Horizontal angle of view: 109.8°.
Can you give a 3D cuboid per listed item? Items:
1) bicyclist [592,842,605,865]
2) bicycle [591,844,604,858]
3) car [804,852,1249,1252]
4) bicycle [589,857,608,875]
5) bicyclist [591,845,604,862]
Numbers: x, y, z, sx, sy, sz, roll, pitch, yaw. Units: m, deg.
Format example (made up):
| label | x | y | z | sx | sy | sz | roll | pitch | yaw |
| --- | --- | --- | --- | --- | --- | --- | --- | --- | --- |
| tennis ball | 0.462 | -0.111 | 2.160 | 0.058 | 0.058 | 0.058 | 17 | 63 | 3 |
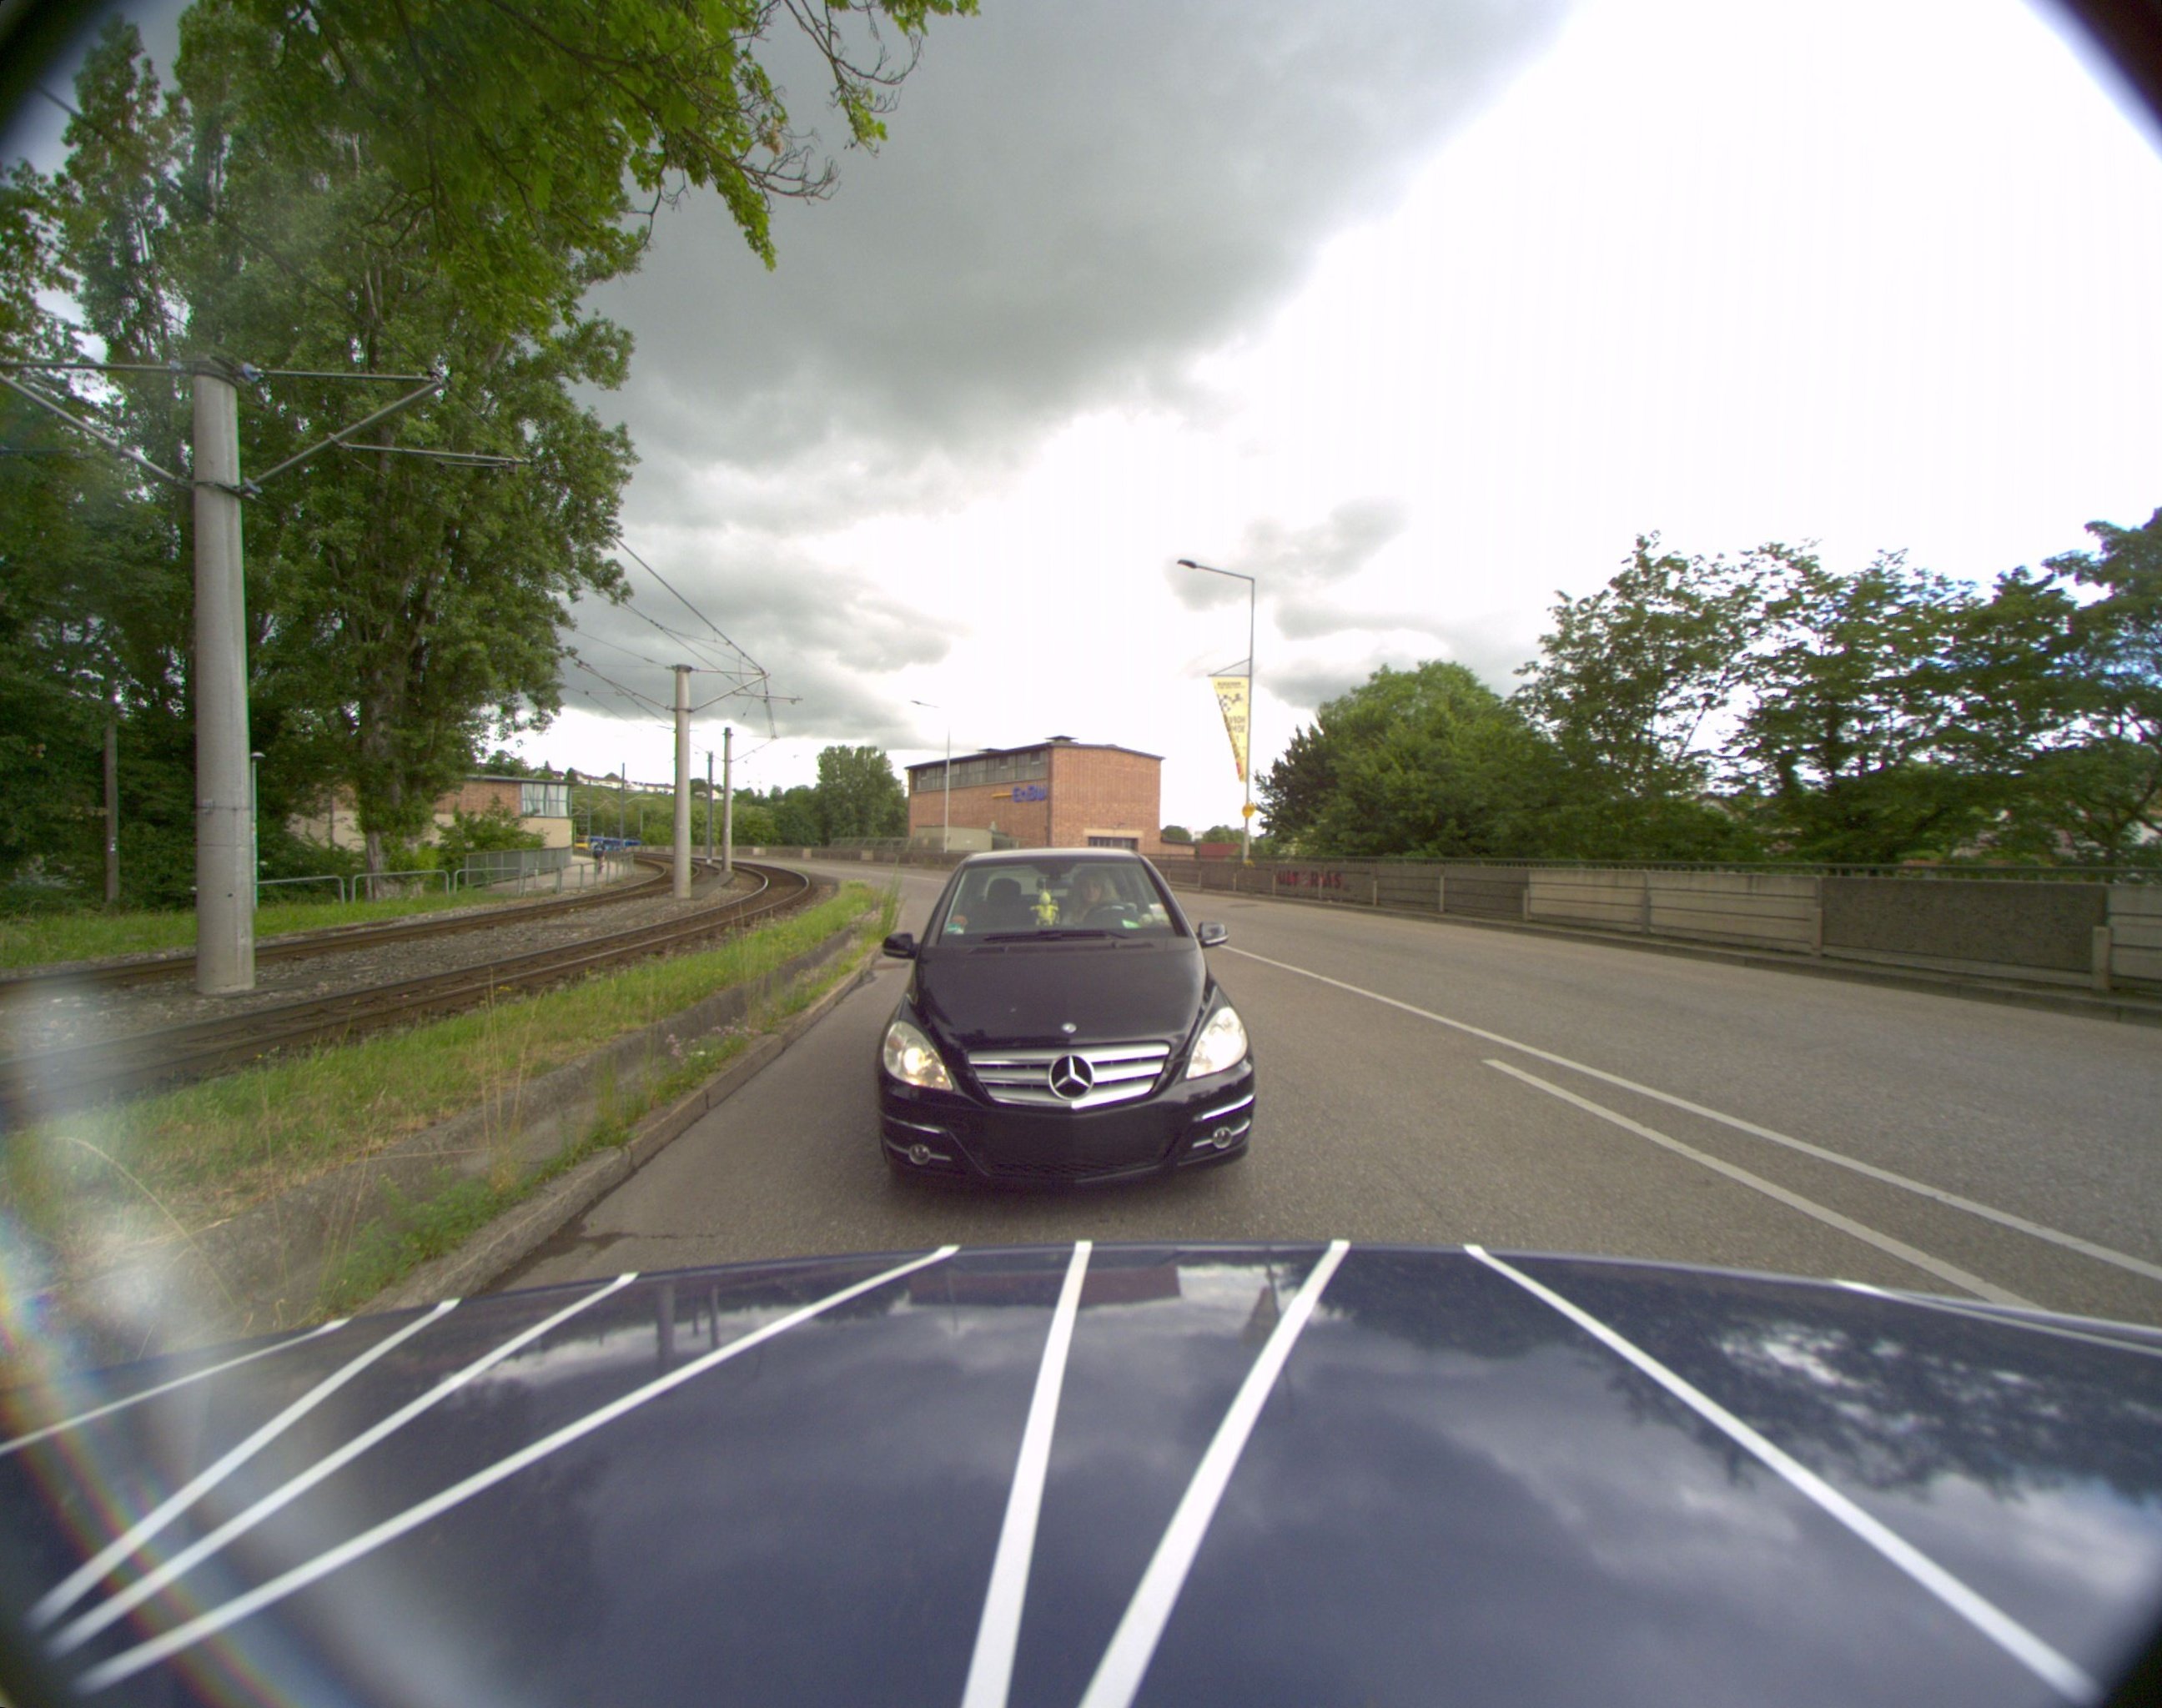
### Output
| label | x | y | z | sx | sy | sz | roll | pitch | yaw |
| --- | --- | --- | --- | --- | --- | --- | --- | --- | --- |
| bicyclist | -22.949 | -0.044 | 36.122 | 0.417 | 1.077 | 0.473 | 0 | 1 | -17 |
| bicycle | -37.961 | -0.206 | 59.606 | 0.428 | 1.044 | 2.074 | -2 | 1 | -44 |
| car | -0.273 | 0.834 | 5.204 | 1.861 | 1.612 | 3.998 | 0 | 1 | -1 |
| bicycle | -22.954 | 0.558 | 36.147 | 0.348 | 0.790 | 1.545 | 0 | 1 | -17 |
| bicyclist | -37.913 | -0.031 | 59.583 | 0.908 | 1.352 | 0.596 | 0 | 2 | 45 |
